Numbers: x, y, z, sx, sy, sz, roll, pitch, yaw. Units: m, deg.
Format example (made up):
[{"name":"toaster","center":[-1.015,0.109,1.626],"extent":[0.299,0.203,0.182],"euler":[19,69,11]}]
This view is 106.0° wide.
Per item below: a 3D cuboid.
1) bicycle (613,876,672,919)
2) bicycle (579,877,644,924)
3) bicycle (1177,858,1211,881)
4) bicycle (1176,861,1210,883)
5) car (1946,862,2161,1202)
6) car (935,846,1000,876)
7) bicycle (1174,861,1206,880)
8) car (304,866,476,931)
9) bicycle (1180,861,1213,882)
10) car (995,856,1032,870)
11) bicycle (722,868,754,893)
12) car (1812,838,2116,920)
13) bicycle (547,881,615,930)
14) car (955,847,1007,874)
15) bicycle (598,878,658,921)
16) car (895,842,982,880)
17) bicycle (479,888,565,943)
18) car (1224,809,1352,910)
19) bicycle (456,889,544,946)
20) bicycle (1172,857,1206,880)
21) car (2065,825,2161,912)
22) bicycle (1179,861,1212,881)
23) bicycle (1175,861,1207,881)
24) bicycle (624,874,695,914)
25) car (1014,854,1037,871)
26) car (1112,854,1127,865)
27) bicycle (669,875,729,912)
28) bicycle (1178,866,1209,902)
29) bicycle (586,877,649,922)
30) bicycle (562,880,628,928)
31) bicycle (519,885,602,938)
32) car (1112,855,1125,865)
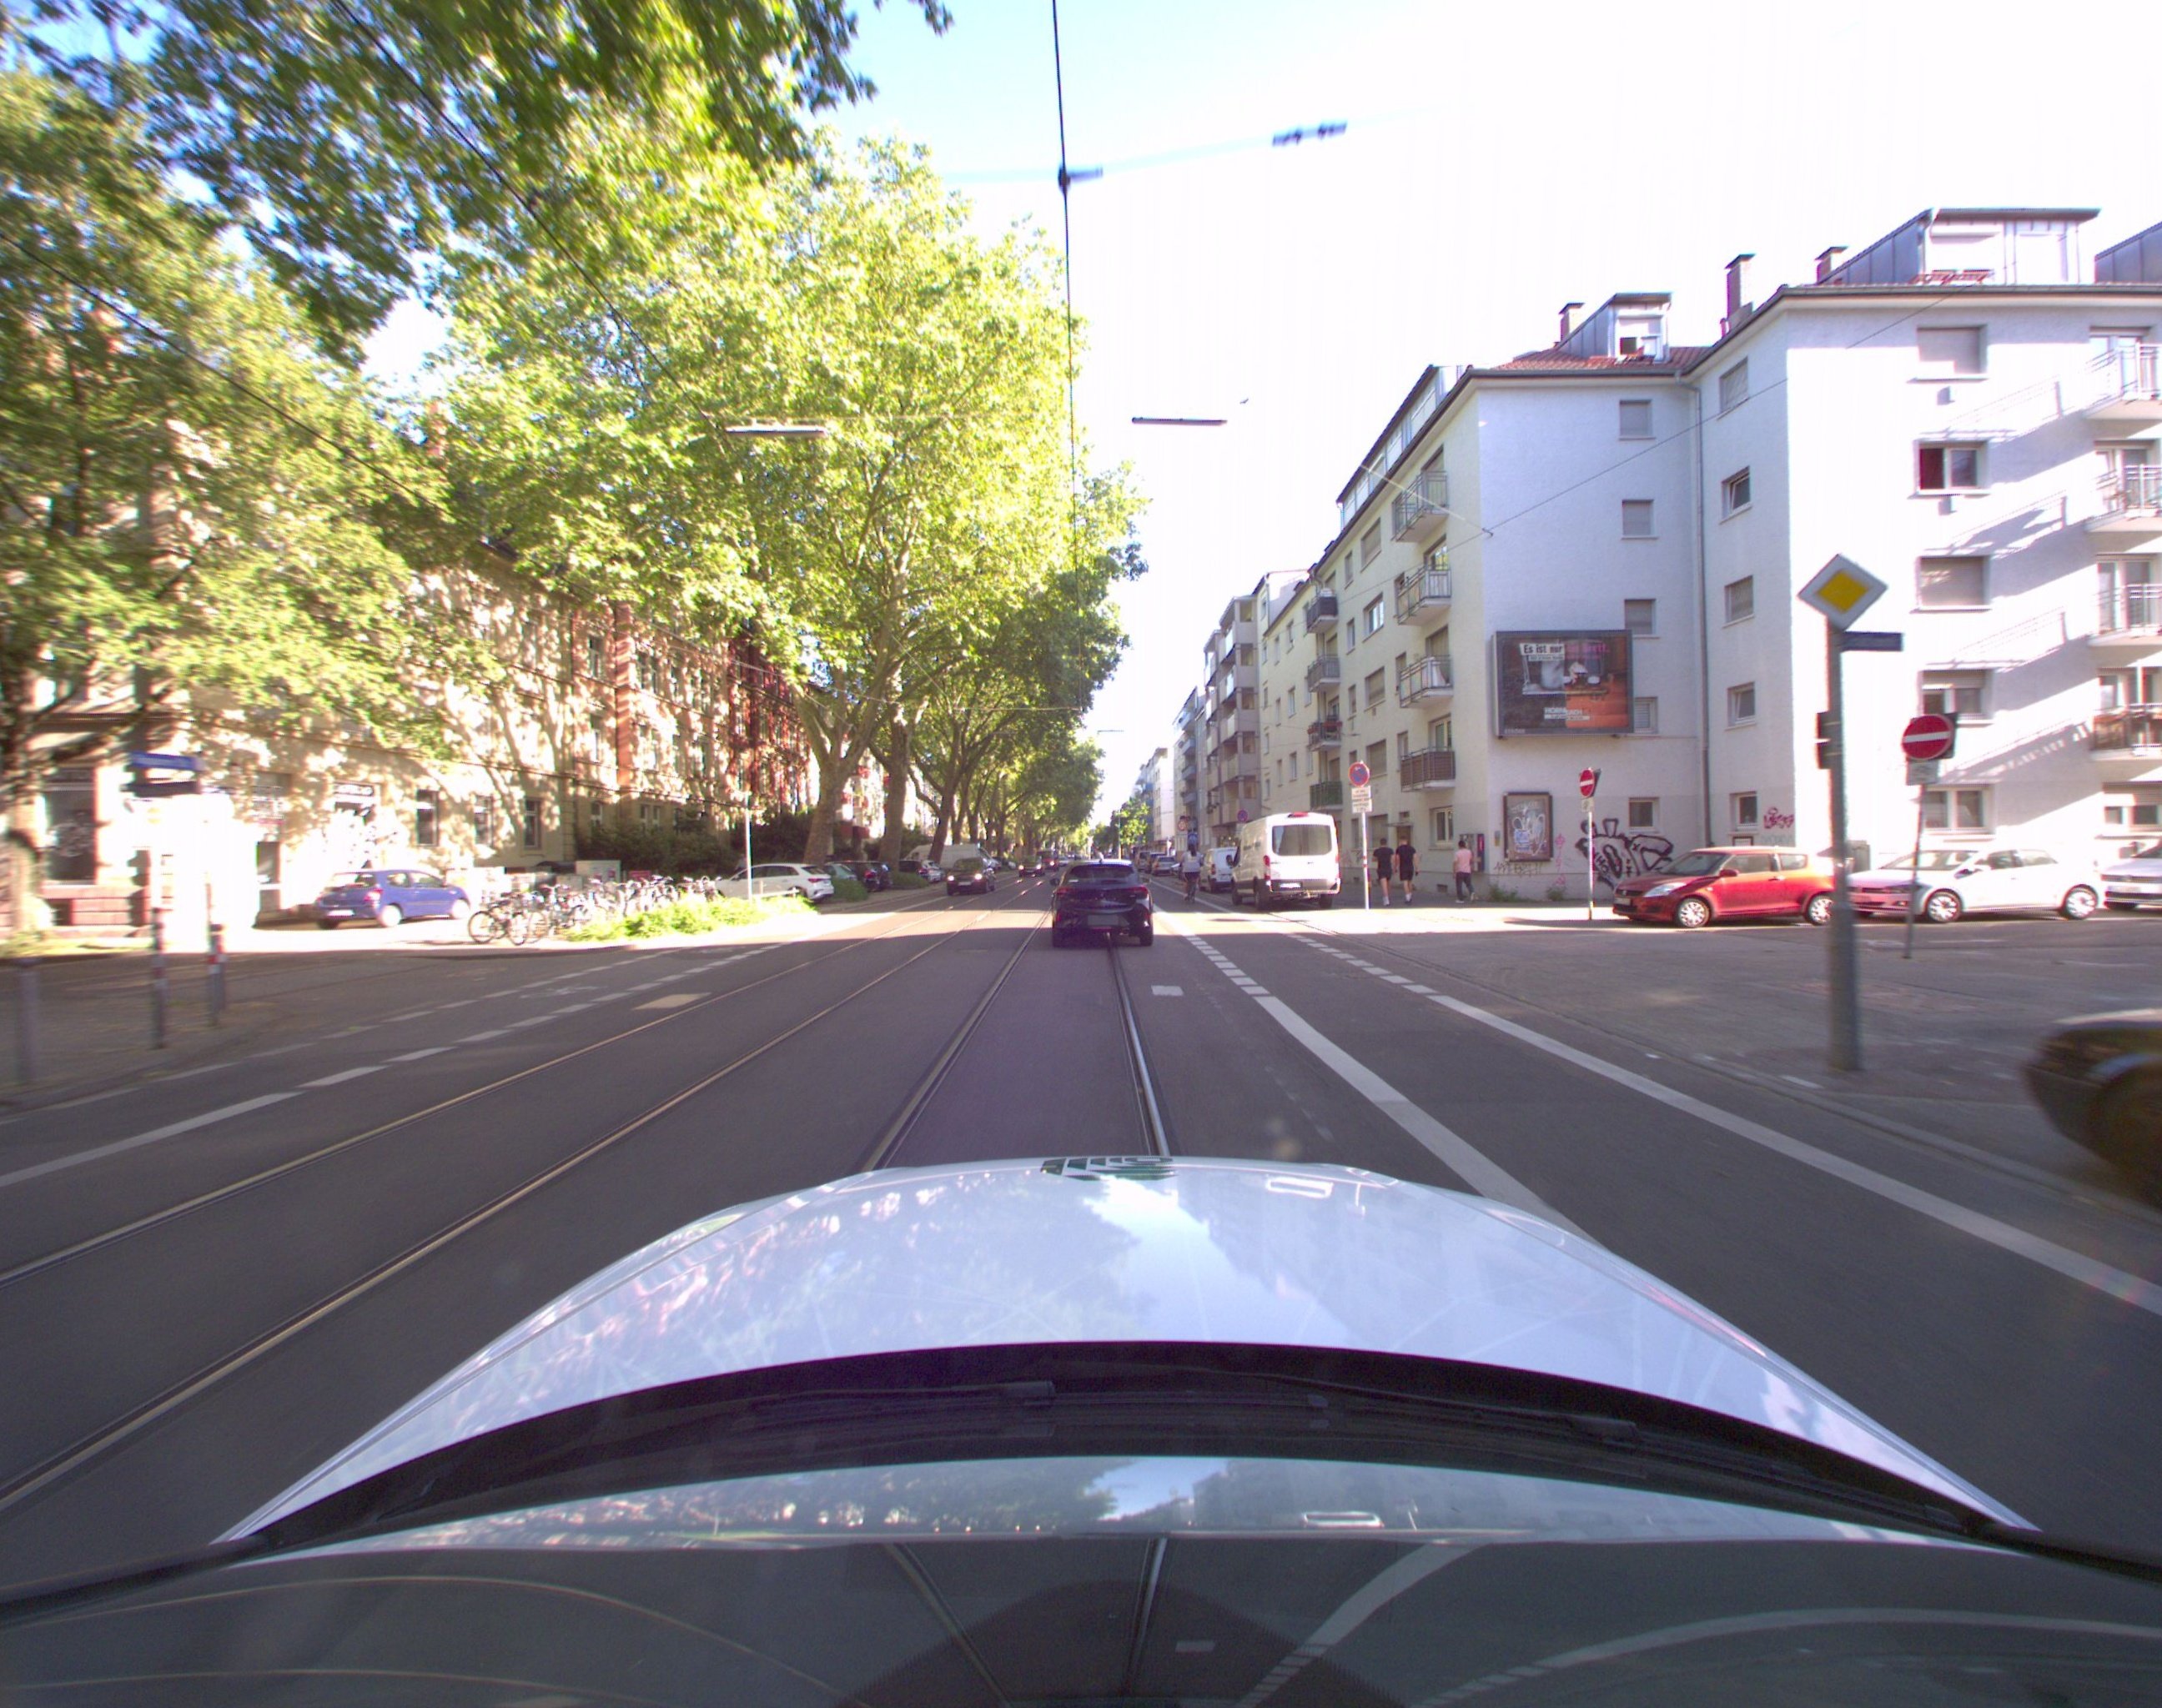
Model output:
[{"name":"bicycle","center":[-11.581,1.148,21.527],"extent":[1.545,1.088,0.398],"euler":[-1,0,18]},{"name":"bicycle","center":[-11.316,1.122,19.626],"extent":[1.545,1.088,0.398],"euler":[-1,0,18]},{"name":"bicycle","center":[6.167,0.863,44.538],"extent":[1.786,1.148,0.705],"euler":[-3,0,3]},{"name":"bicycle","center":[5.869,0.928,42.773],"extent":[1.647,1.055,0.457],"euler":[-3,0,0]},{"name":"car","center":[5.518,0.757,2.348],"extent":[1.644,1.420,4.057],"euler":[-3,0,-1]},{"name":"car","center":[-9.997,0.582,71.859],"extent":[5.342,2.477,2.057],"euler":[-1,0,0]},{"name":"bicycle","center":[6.118,0.925,45.764],"extent":[1.647,0.966,0.457],"euler":[-3,0,0]},{"name":"car","center":[-17.915,1.095,21.345],"extent":[1.595,1.460,3.486],"euler":[-1,0,-2]},{"name":"bicycle","center":[6.153,0.932,43.311],"extent":[1.647,0.987,0.457],"euler":[-3,0,0]},{"name":"car","center":[-7.549,1.029,91.791],"extent":[3.975,1.522,1.770],"euler":[-1,0,-1]},{"name":"bicycle","center":[-16.395,1.252,38.971],"extent":[0.739,1.138,1.780],"euler":[-1,0,0]},{"name":"car","center":[17.185,0.465,16.013],"extent":[4.010,1.455,1.790],"euler":[-1,0,1]},{"name":"bicycle","center":[-11.500,1.174,18.725],"extent":[1.545,1.088,0.398],"euler":[-1,0,18]},{"name":"car","center":[-9.843,0.620,80.460],"extent":[4.932,2.567,2.080],"euler":[-1,0,-3]},{"name":"bicycle","center":[-11.705,1.171,21.045],"extent":[1.545,1.088,0.398],"euler":[-1,0,18]},{"name":"car","center":[-9.951,0.460,57.244],"extent":[5.721,2.536,2.162],"euler":[-1,0,0]},{"name":"bicycle","center":[-11.491,1.259,16.730],"extent":[1.841,1.088,0.398],"euler":[-1,0,18]},{"name":"car","center":[5.726,0.156,23.477],"extent":[2.142,2.495,6.087],"euler":[-1,0,0]},{"name":"bicycle","center":[-11.627,1.257,16.301],"extent":[1.841,1.088,0.398],"euler":[-1,0,18]},{"name":"bicycle","center":[6.128,0.819,46.241],"extent":[1.817,1.191,0.457],"euler":[-3,0,0]},{"name":"car","center":[22.537,0.248,15.979],"extent":[4.231,1.636,1.790],"euler":[-1,0,1]},{"name":"bicycle","center":[6.152,0.934,43.848],"extent":[1.647,0.987,0.457],"euler":[-3,0,0]},{"name":"bicycle","center":[6.101,0.920,45.242],"extent":[1.647,1.020,0.457],"euler":[-3,0,0]},{"name":"bicycle","center":[-11.807,1.118,22.816],"extent":[1.903,1.088,0.600],"euler":[-1,0,18]},{"name":"car","center":[-5.922,0.877,87.052],"extent":[1.987,1.700,4.484],"euler":[-3,0,0]},{"name":"car","center":[5.824,0.807,123.534],"extent":[1.714,1.574,4.079],"euler":[-1,0,-3]},{"name":"bicycle","center":[-11.241,1.155,23.962],"extent":[1.784,1.043,0.601],"euler":[-1,0,27]},{"name":"bicycle","center":[3.574,0.949,26.061],"extent":[0.699,1.092,1.990],"euler":[1,-1,0]},{"name":"bicycle","center":[-11.506,1.122,20.198],"extent":[1.545,1.088,0.398],"euler":[-1,0,18]},{"name":"bicycle","center":[-11.449,1.180,19.196],"extent":[1.545,1.088,0.398],"euler":[-1,0,18]},{"name":"bicycle","center":[-11.201,1.233,17.523],"extent":[1.841,1.088,0.398],"euler":[-1,0,18]},{"name":"car","center":[5.918,0.984,129.271],"extent":[1.713,1.490,3.680],"euler":[-1,0,-1]}]
